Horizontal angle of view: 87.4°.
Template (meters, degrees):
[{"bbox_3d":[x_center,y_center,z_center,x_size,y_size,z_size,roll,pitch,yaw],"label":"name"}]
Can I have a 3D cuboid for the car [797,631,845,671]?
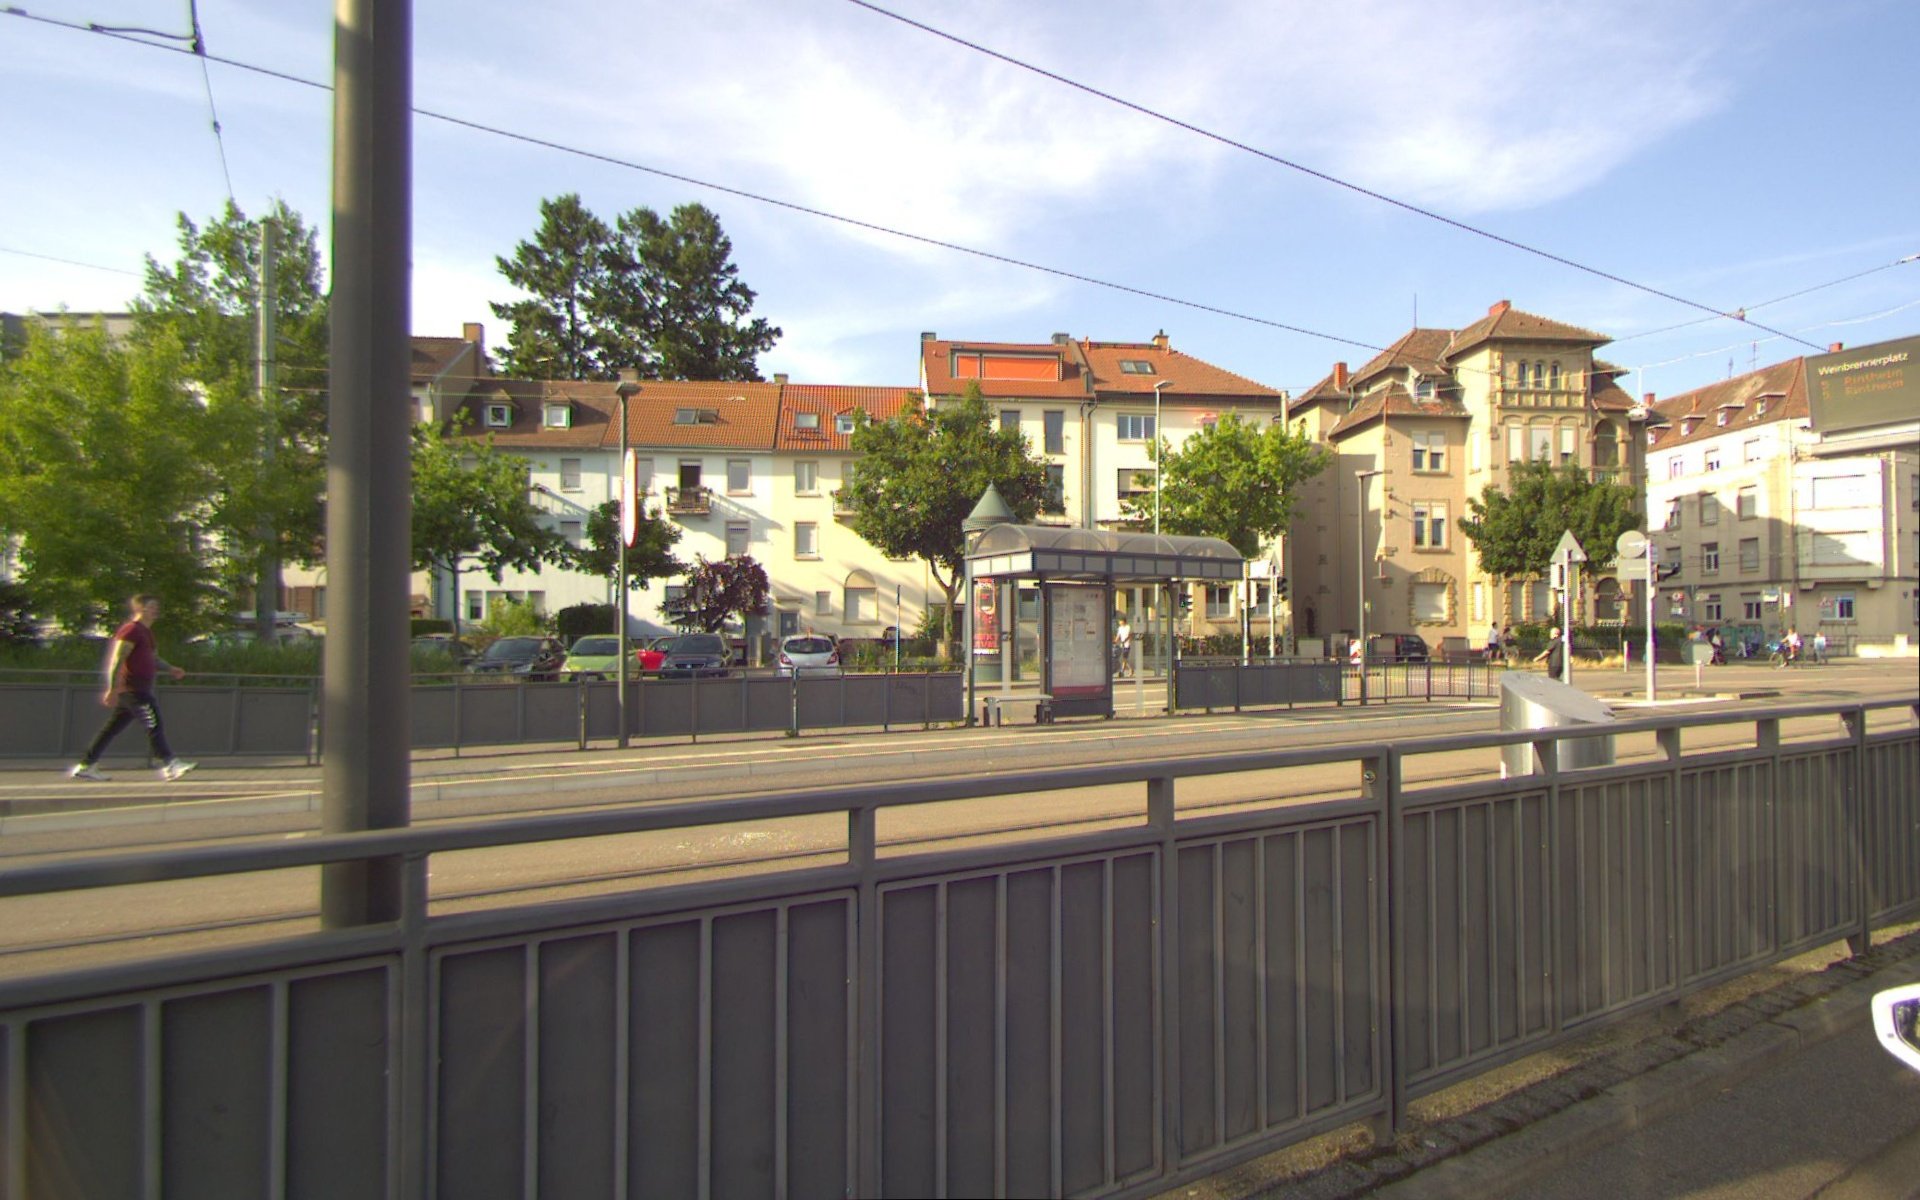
[{"bbox_3d":[-6.059,2.199,44.206,1.962,1.684,3.997,0,-2,-6],"label":"car"}]

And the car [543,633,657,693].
[{"bbox_3d":[-9.653,1.657,27.265,1.813,1.505,3.999,0,-2,-3],"label":"car"}]

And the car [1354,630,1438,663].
[{"bbox_3d":[20.369,2.169,47.126,1.732,1.327,4.111,2,0,-7],"label":"car"}]

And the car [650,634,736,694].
[{"bbox_3d":[-7.167,1.683,27.286,1.815,1.505,3.995,0,-2,-9],"label":"car"}]

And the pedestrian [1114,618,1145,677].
[{"bbox_3d":[5.132,1.422,30.330,0.756,1.769,0.543,1,-2,-35],"label":"pedestrian"}]

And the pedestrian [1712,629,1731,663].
[{"bbox_3d":[34.002,2.051,44.846,0.382,1.520,0.535,0,-2,-15],"label":"pedestrian"}]

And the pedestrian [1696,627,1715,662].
[{"bbox_3d":[32.942,1.976,44.383,0.540,1.520,0.437,0,-2,-15],"label":"pedestrian"}]

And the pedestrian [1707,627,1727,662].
[{"bbox_3d":[33.103,1.960,43.943,0.540,1.520,0.437,0,-2,-15],"label":"pedestrian"}]

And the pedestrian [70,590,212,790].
[{"bbox_3d":[-7.361,0.800,9.077,0.867,1.706,0.551,1,-5,-30],"label":"pedestrian"}]

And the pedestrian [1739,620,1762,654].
[{"bbox_3d":[48.670,2.282,61.835,0.773,2.040,0.775,0,-2,-15],"label":"pedestrian"}]

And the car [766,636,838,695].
[{"bbox_3d":[-4.350,1.765,27.824,1.815,1.505,3.995,0,-2,-9],"label":"car"}]

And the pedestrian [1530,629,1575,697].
[{"bbox_3d":[14.896,1.567,25.267,0.778,1.667,0.757,-1,-2,16],"label":"pedestrian"}]

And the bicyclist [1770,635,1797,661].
[{"bbox_3d":[33.713,1.963,41.141,0.667,1.058,0.514,0,-2,-8],"label":"bicyclist"}]

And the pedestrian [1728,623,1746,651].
[{"bbox_3d":[47.805,2.263,61.779,0.576,1.682,0.620,0,-2,-14],"label":"pedestrian"}]

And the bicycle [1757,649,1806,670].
[{"bbox_3d":[33.627,2.429,41.113,1.654,0.845,0.527,0,-2,-6],"label":"bicycle"}]

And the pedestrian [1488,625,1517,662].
[{"bbox_3d":[23.560,1.881,43.641,0.768,1.572,0.831,0,-2,-8],"label":"pedestrian"}]

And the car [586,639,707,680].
[{"bbox_3d":[-11.227,2.124,36.247,3.927,1.416,1.836,0,-2,-9],"label":"car"}]

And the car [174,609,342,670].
[{"bbox_3d":[-18.653,1.046,26.931,1.813,1.505,3.999,0,-2,-3],"label":"car"}]

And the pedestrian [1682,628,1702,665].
[{"bbox_3d":[32.693,2.083,44.856,0.601,1.647,0.506,1,-2,-29],"label":"pedestrian"}]

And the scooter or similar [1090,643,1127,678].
[{"bbox_3d":[4.414,1.795,29.819,1.013,1.001,0.552,1,-2,-36],"label":"scooter or similar"}]

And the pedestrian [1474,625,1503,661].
[{"bbox_3d":[23.458,1.914,44.578,0.768,1.572,0.831,0,-2,-8],"label":"pedestrian"}]

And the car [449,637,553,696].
[{"bbox_3d":[-11.884,1.677,26.253,1.968,1.416,3.985,0,-2,-18],"label":"car"}]

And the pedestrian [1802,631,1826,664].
[{"bbox_3d":[40.881,2.274,48.088,0.702,1.561,0.626,1,-2,-30],"label":"pedestrian"}]

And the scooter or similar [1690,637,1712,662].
[{"bbox_3d":[33.365,2.217,45.221,0.675,1.093,0.541,2,0,-30],"label":"scooter or similar"}]

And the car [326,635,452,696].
[{"bbox_3d":[-14.405,1.602,25.594,1.968,1.416,3.985,0,-2,-18],"label":"car"}]
